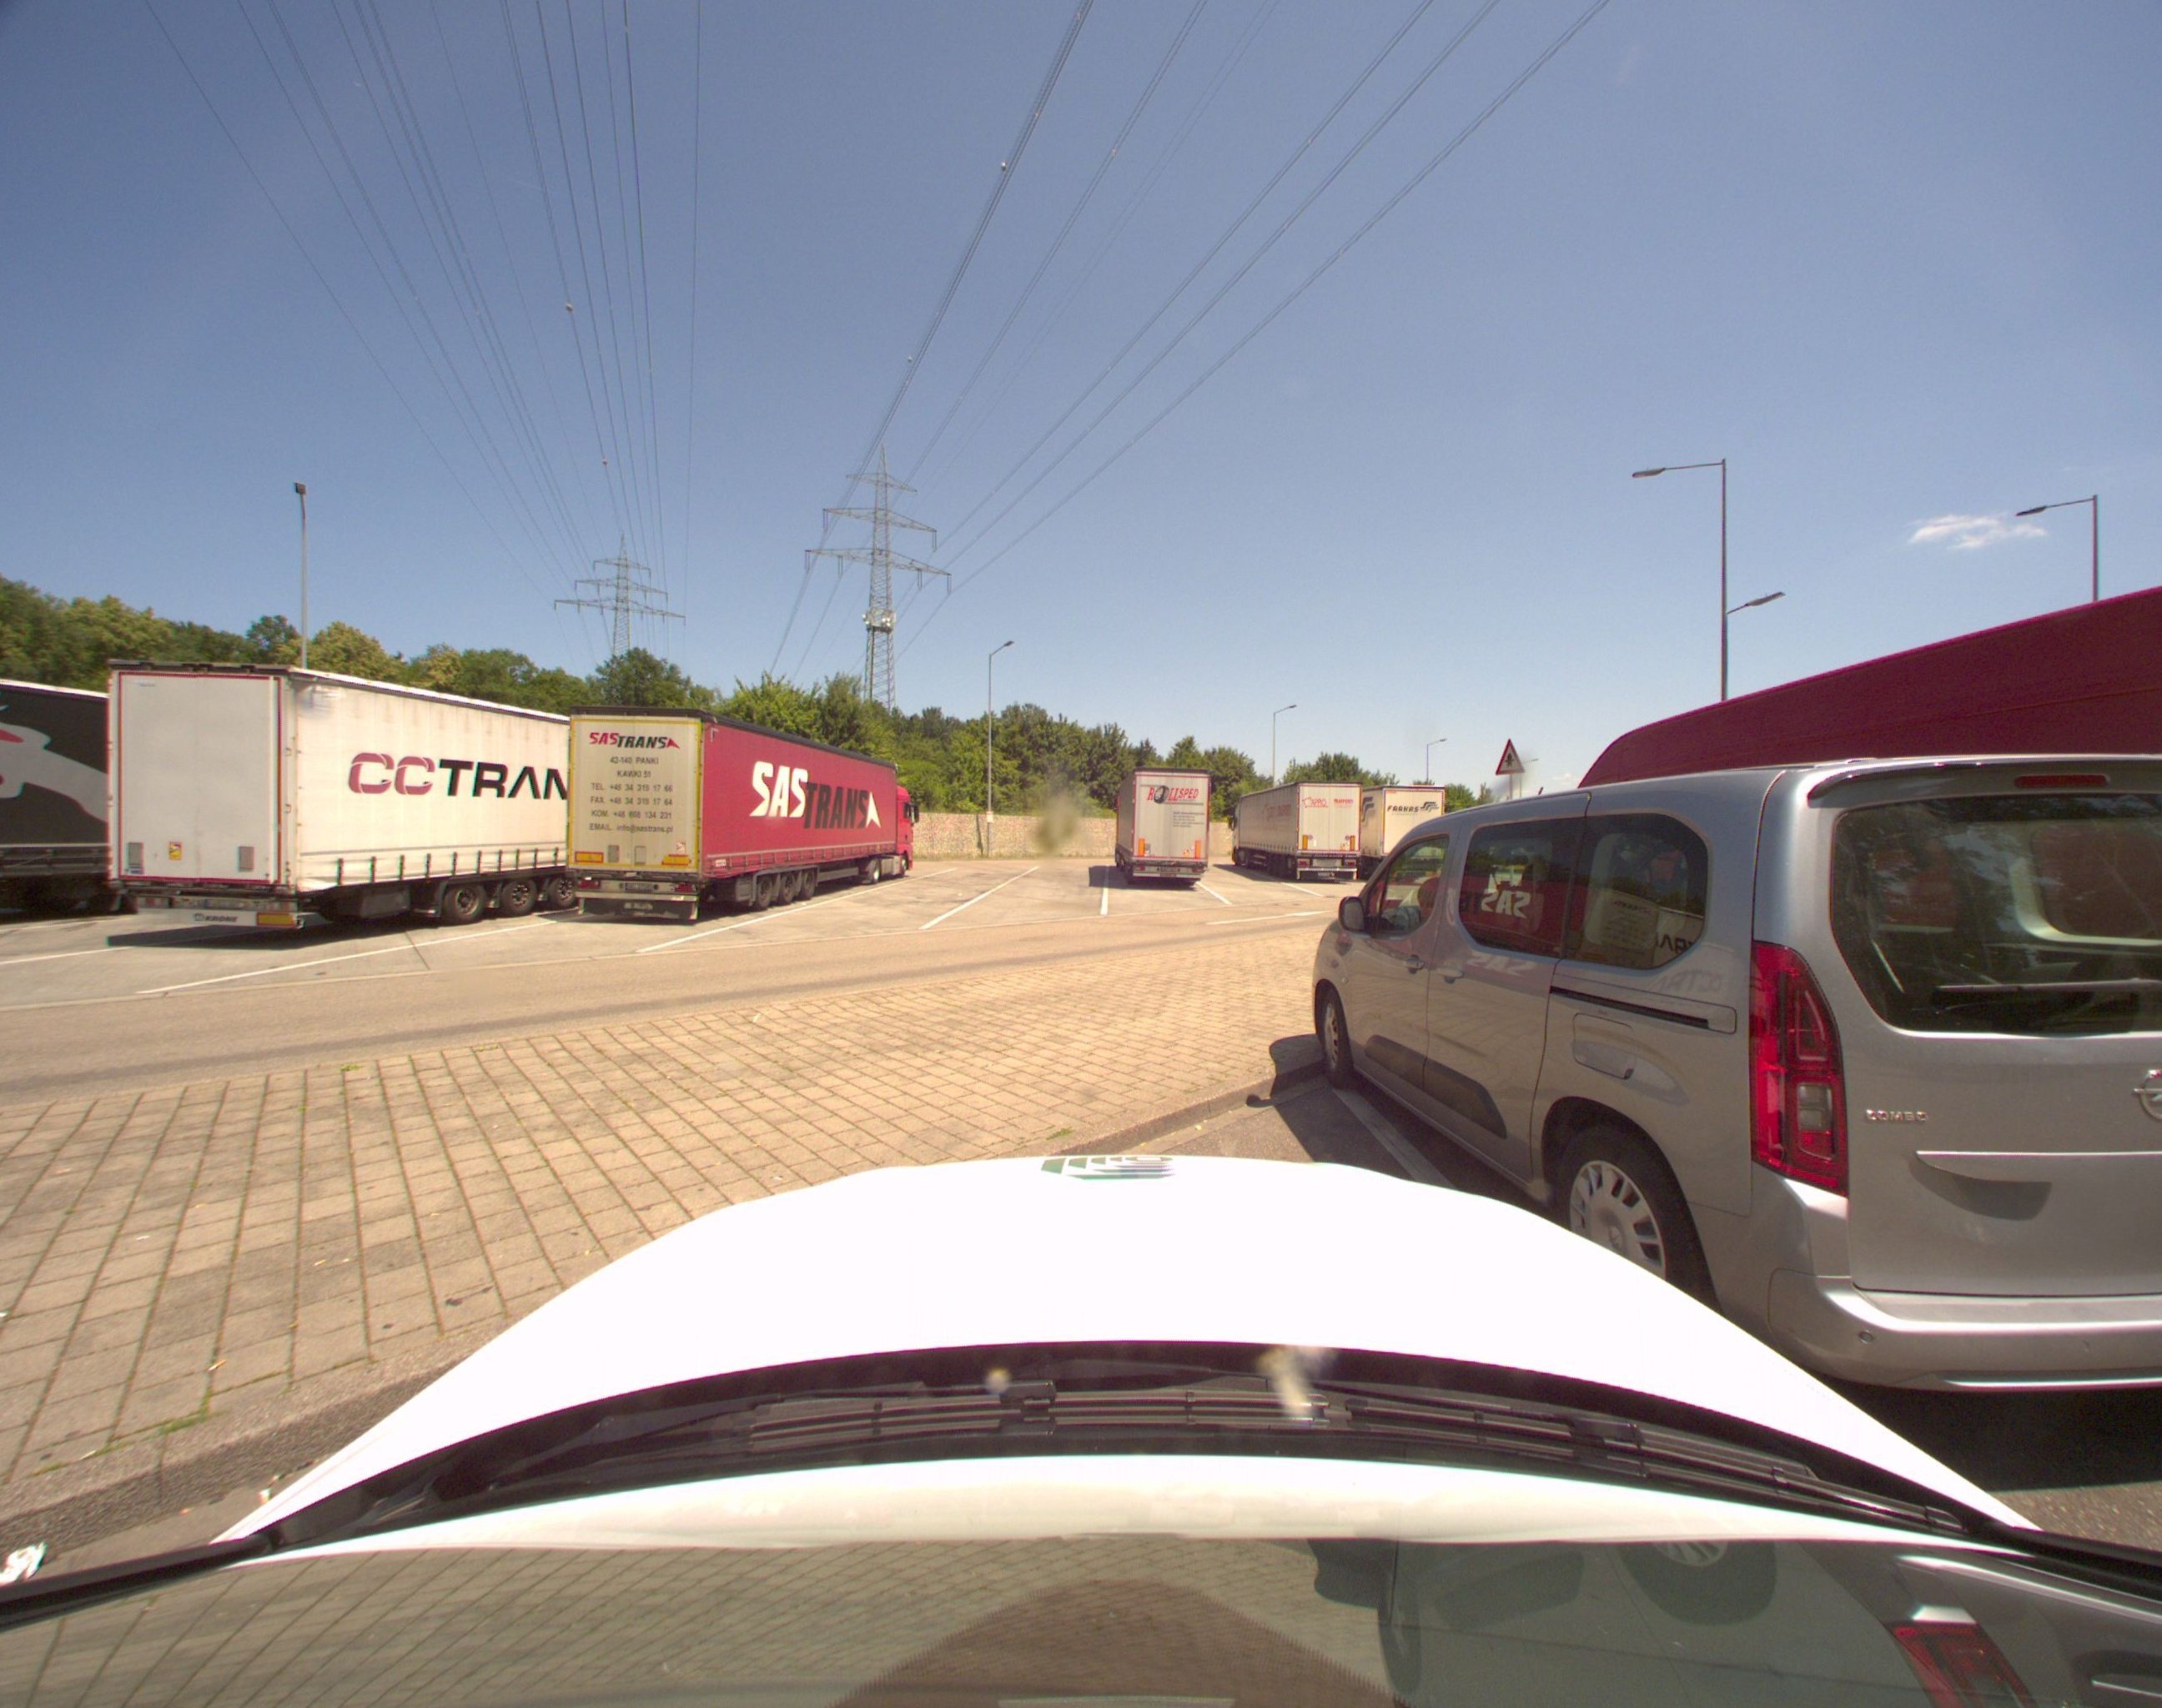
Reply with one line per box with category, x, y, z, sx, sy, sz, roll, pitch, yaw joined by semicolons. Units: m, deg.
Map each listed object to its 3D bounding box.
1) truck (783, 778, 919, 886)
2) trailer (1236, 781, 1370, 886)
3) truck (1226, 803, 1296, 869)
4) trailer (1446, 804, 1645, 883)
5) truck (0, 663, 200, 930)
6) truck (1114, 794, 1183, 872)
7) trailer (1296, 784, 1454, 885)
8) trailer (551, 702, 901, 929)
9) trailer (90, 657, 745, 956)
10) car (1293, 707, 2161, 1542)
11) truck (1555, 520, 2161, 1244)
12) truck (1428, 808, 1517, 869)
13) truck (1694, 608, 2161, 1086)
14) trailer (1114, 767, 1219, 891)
truck;-7.807;-0.786;28.503;2.840;3.327;5.903;1;2;2
trailer;9.937;-1.048;38.673;2.801;3.989;14.403;1;2;2
truck;10.199;-1.079;46.774;2.852;3.521;5.903;1;2;2
trailer;24.107;-0.738;43.784;2.801;3.507;14.403;1;2;2
truck;-18.531;-0.969;13.811;2.726;4.239;3.997;1;2;2
truck;3.237;-1.084;40.618;3.092;3.566;5.903;1;2;2
trailer;13.610;-1.039;39.636;2.801;3.989;14.403;1;2;2
trailer;-8.055;-0.948;21.933;2.781;4.084;14.139;1;2;2
trailer;-12.119;-0.911;18.363;2.785;4.084;14.139;1;2;2
car;2.499;0.576;3.912;1.864;1.863;4.176;1;1;0
truck;5.145;0.121;4.936;1.968;2.622;5.314;0;-1;7
truck;24.363;-1.010;51.015;2.792;3.521;5.903;1;2;2
truck;8.001;-0.035;6.484;2.444;2.912;5.663;-1;-1;7
trailer;3.072;-1.067;33.724;3.122;3.989;14.401;1;2;1
